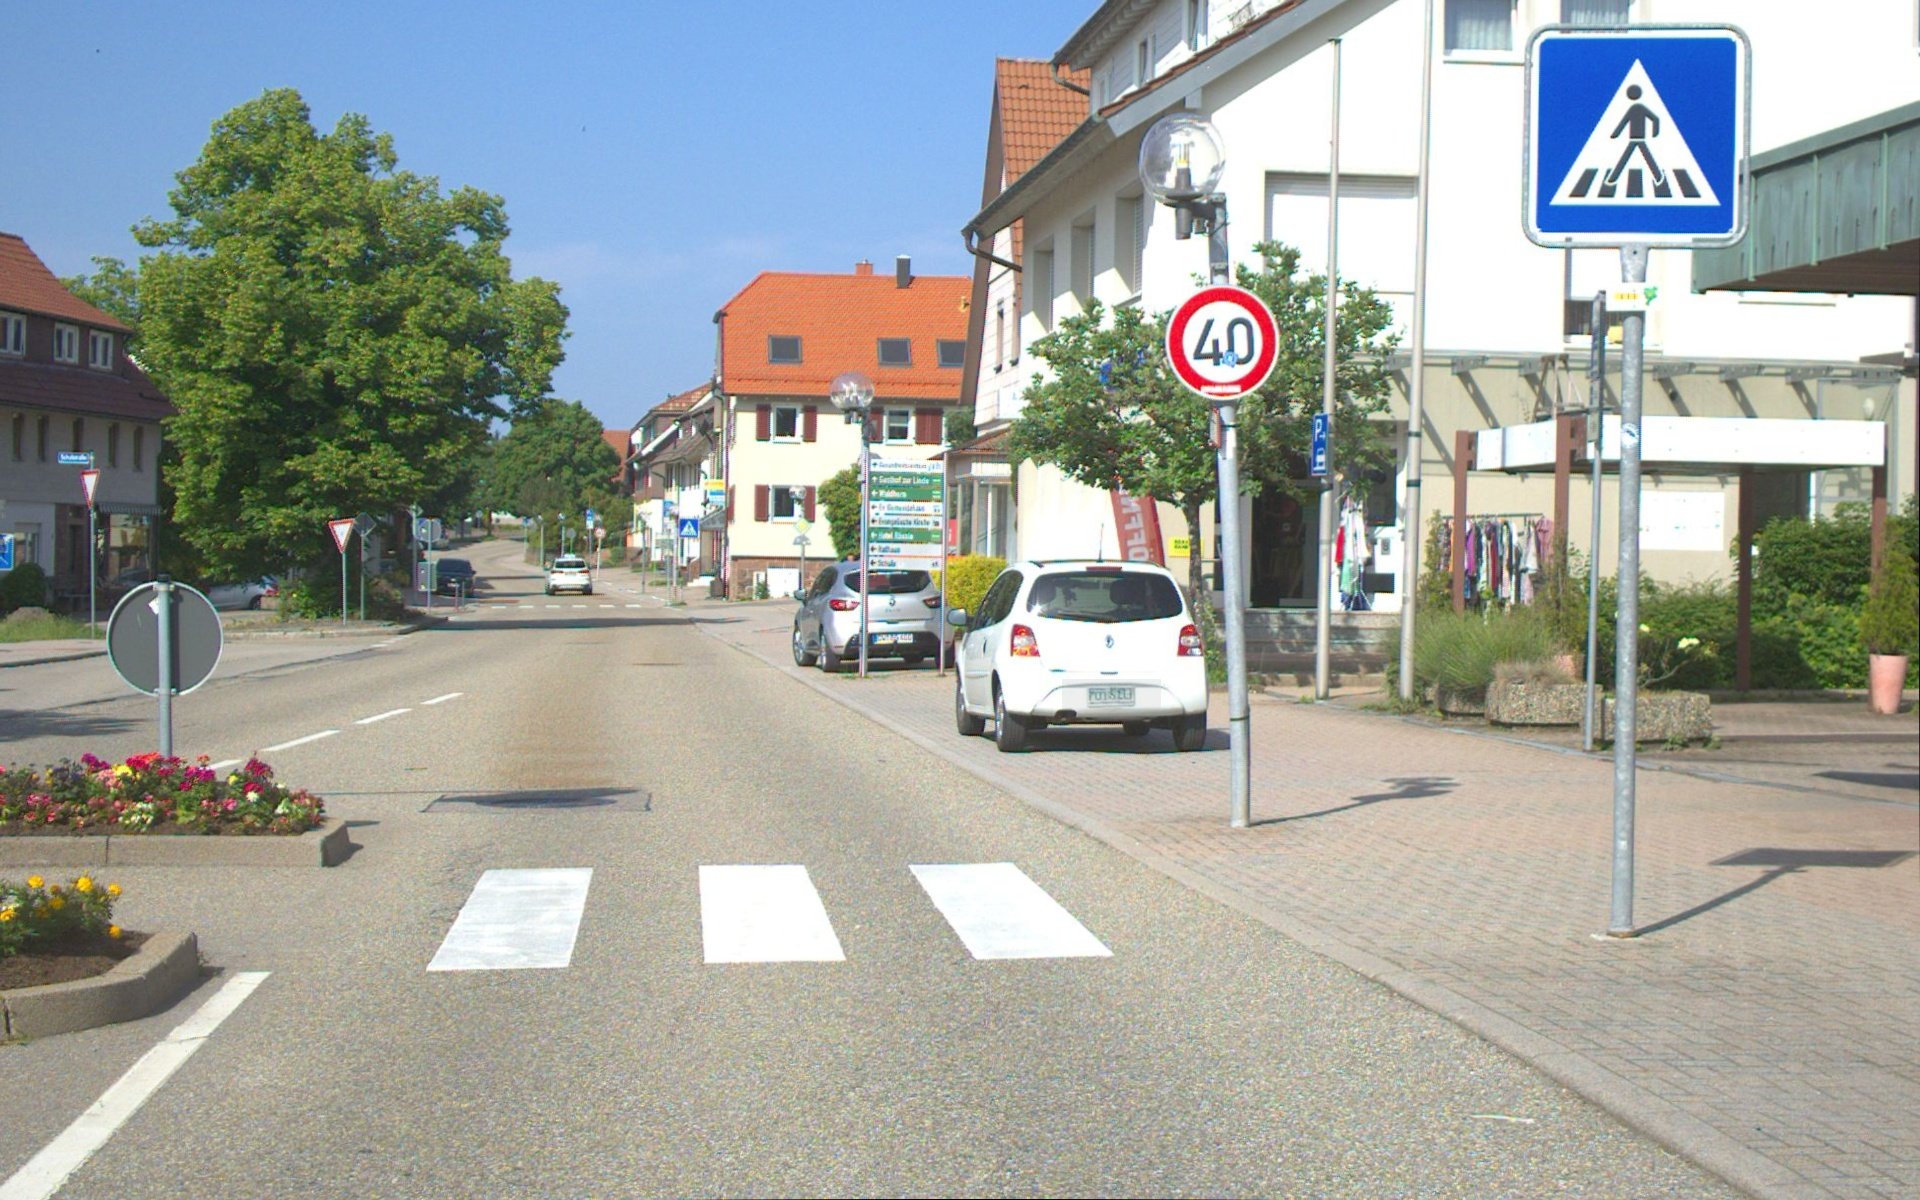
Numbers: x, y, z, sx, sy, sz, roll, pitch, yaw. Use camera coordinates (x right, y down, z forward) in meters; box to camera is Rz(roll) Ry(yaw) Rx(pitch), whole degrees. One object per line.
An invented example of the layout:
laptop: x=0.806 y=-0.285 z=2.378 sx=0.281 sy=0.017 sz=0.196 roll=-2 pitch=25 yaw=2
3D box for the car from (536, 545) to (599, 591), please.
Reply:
car: x=-18.123 y=-1.467 z=158.496 sx=2.495 sy=2.007 sz=4.306 roll=-2 pitch=1 yaw=-11

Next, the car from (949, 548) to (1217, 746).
car: x=0.915 y=0.324 z=27.500 sx=1.760 sy=1.418 sz=3.634 roll=-2 pitch=1 yaw=-4

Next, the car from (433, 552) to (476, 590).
car: x=-22.134 y=-1.262 z=150.580 sx=1.672 sy=1.528 sz=3.536 roll=4 pitch=0 yaw=-6

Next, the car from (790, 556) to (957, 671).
car: x=-1.197 y=0.143 z=45.827 sx=1.635 sy=1.415 sz=3.936 roll=-2 pitch=1 yaw=-10

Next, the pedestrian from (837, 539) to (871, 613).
pedestrian: x=-2.576 y=-0.596 z=83.736 sx=0.799 sy=1.778 sz=0.979 roll=-1 pitch=1 yaw=-1

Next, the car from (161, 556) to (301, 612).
car: x=-22.144 y=-0.470 z=104.462 sx=3.760 sy=1.450 sz=1.817 roll=-2 pitch=-4 yaw=6
